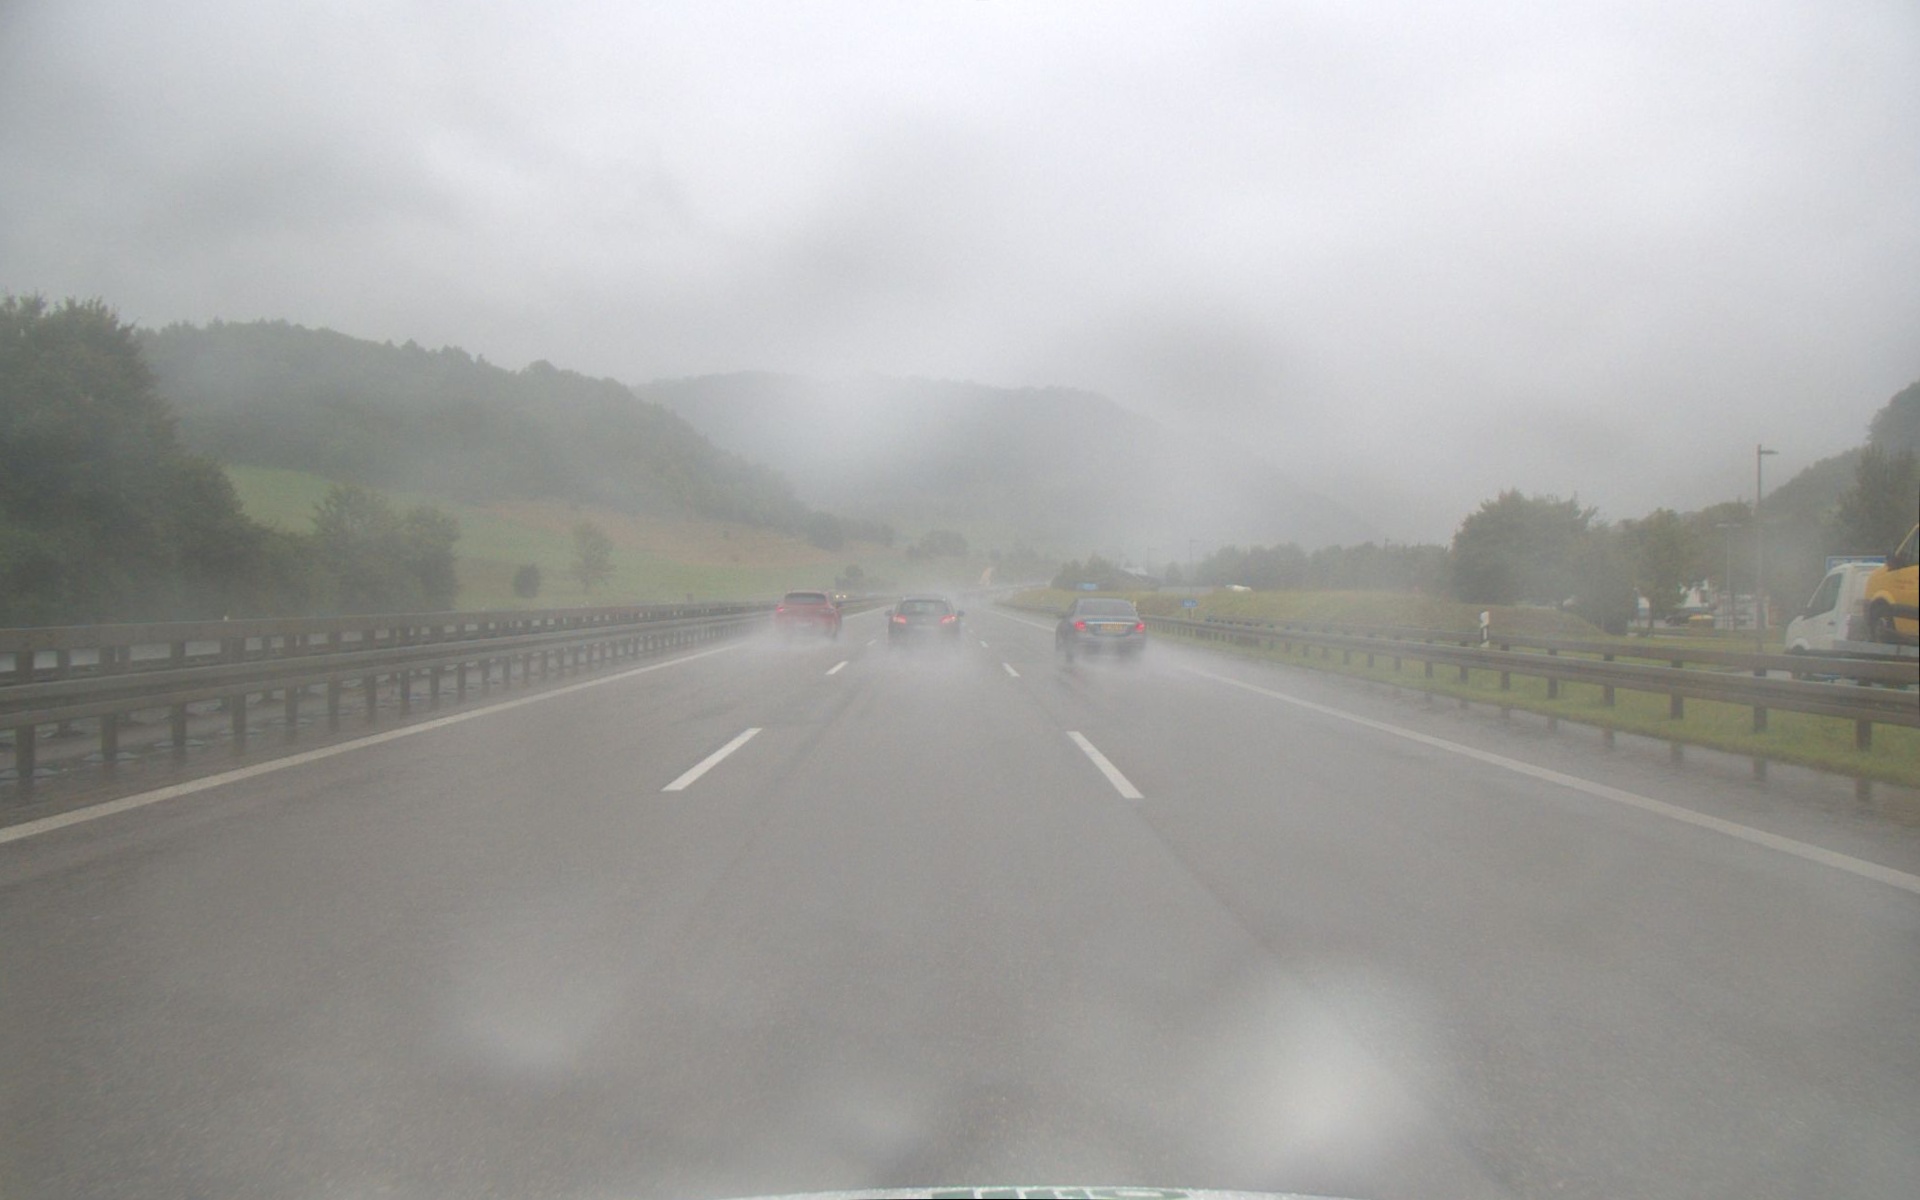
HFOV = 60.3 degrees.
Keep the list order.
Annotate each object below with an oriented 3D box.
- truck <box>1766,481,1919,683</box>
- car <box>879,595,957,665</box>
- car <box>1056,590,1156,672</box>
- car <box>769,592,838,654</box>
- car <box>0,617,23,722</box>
[{"bbox_3d":[16.302,-0.262,26.862,2.244,3.202,8.864,1,0,1],"label":"truck"},{"bbox_3d":[-1.000,0.704,41.044,1.821,1.617,3.999,1,0,0],"label":"car"},{"bbox_3d":[3.323,0.674,38.401,1.931,1.791,4.000,-1,0,0],"label":"car"},{"bbox_3d":[-4.830,0.670,51.469,1.846,1.847,3.999,0,0,-1],"label":"car"},{"bbox_3d":[-16.795,1.174,25.298,1.953,1.722,5.303,-1,0,-1],"label":"car"}]
